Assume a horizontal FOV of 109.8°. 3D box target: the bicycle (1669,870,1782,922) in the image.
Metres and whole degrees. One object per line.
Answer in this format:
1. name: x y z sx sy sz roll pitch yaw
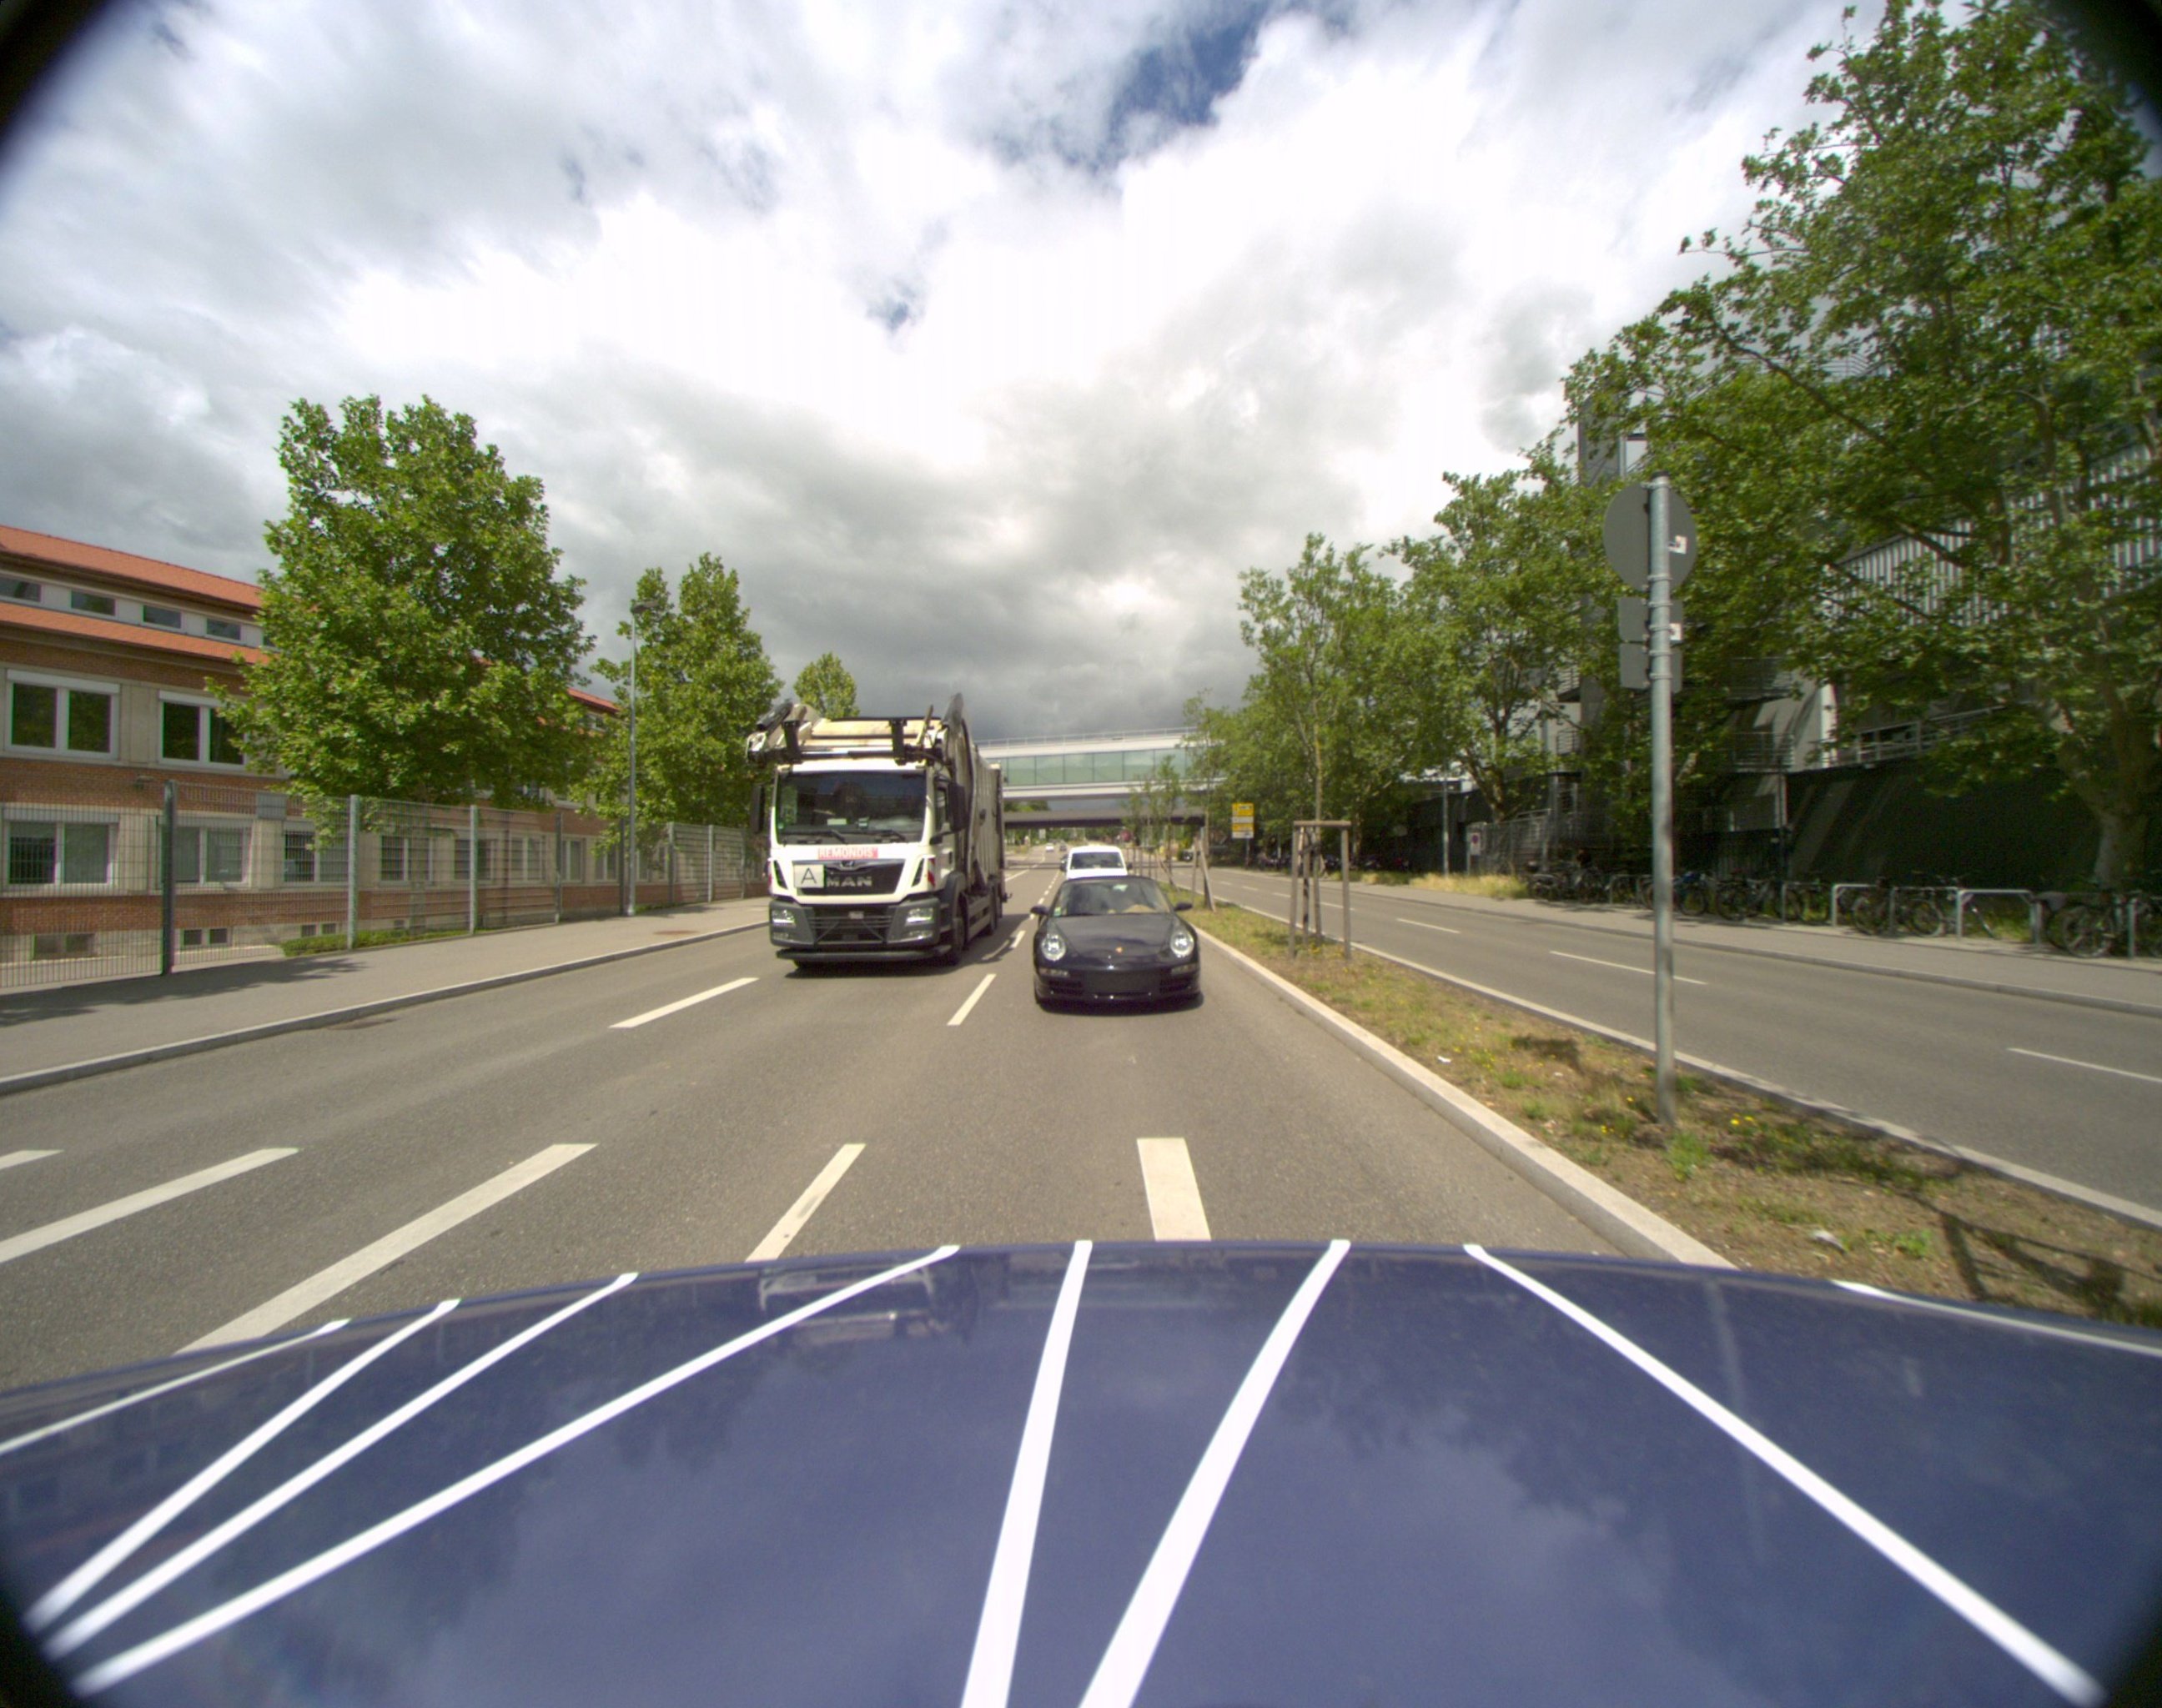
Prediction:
1. bicycle: 14.474 0.937 17.079 2.129 1.104 0.382 -1 1 3

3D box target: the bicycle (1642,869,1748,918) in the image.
1. bicycle: 14.500 0.929 17.966 2.129 1.104 0.382 -1 1 3

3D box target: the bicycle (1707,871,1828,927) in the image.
1. bicycle: 14.495 0.948 16.055 2.129 1.104 0.382 -1 1 3

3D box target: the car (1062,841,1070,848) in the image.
1. car: -4.041 -2.462 201.867 1.862 1.800 4.357 -3 0 1

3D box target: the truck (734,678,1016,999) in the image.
1. truck: -2.986 -0.239 14.516 2.495 3.890 10.172 -2 1 0

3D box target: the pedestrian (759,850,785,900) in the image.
1. pedestrian: -11.278 0.756 27.760 0.698 1.772 0.658 1 1 -5

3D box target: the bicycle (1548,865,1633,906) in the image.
1. bicycle: 14.748 0.907 22.016 2.129 1.104 0.382 -1 1 3

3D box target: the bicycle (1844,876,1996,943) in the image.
1. bicycle: 14.573 0.961 13.215 2.129 1.089 0.382 -1 1 3

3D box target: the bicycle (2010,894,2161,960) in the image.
1. bicycle: 14.951 1.076 11.235 1.993 0.885 0.382 -1 1 -1

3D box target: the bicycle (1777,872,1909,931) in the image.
1. bicycle: 15.036 0.931 15.016 2.129 1.104 0.382 -1 1 3

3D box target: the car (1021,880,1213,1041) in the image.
1. car: 0.351 1.032 8.777 1.710 1.280 3.806 -1 0 1

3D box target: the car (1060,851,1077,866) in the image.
1. car: -1.330 0.472 83.939 1.747 1.647 3.545 -1 0 0

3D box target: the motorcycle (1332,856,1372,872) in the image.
1. motorcycle: 15.816 0.601 44.341 2.133 0.880 0.534 -1 0 1

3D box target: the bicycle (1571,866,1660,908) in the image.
1. bicycle: 14.817 0.920 21.092 2.129 1.104 0.382 -1 1 3

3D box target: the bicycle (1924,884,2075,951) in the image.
1. bicycle: 14.748 1.018 12.214 1.993 0.992 0.382 -1 1 -1

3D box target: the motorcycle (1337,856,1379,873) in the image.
1. motorcycle: 15.427 0.582 42.395 2.133 0.893 0.534 -1 0 1

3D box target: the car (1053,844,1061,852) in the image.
1. car: -6.200 -1.617 196.887 1.925 2.082 4.657 -1 0 2

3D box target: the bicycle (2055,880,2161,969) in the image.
1. bicycle: 14.348 0.932 10.232 1.993 1.121 0.382 -1 1 -1

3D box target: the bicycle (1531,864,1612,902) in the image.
1. bicycle: 14.743 0.871 22.857 2.129 1.104 0.382 -1 1 3

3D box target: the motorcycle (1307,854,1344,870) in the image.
1. motorcycle: 15.401 0.525 47.818 2.133 0.963 0.534 -1 0 1

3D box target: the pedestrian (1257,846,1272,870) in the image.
1. pedestrian: 13.178 0.263 54.564 0.900 1.710 0.673 -1 1 1

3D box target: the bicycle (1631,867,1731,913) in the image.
1. bicycle: 15.060 0.900 19.081 2.129 1.104 0.382 -1 1 3

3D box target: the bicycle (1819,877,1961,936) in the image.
1. bicycle: 15.006 0.974 14.109 2.129 1.025 0.382 -1 1 3

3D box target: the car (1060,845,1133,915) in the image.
1. car: 0.443 0.682 22.365 1.862 1.800 4.906 -1 0 1

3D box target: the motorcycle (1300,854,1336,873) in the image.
1. motorcycle: 15.293 0.619 49.122 2.133 1.131 0.534 -1 0 1

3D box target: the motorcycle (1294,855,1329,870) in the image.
1. motorcycle: 15.339 0.554 50.529 2.133 0.963 0.534 -1 0 1
